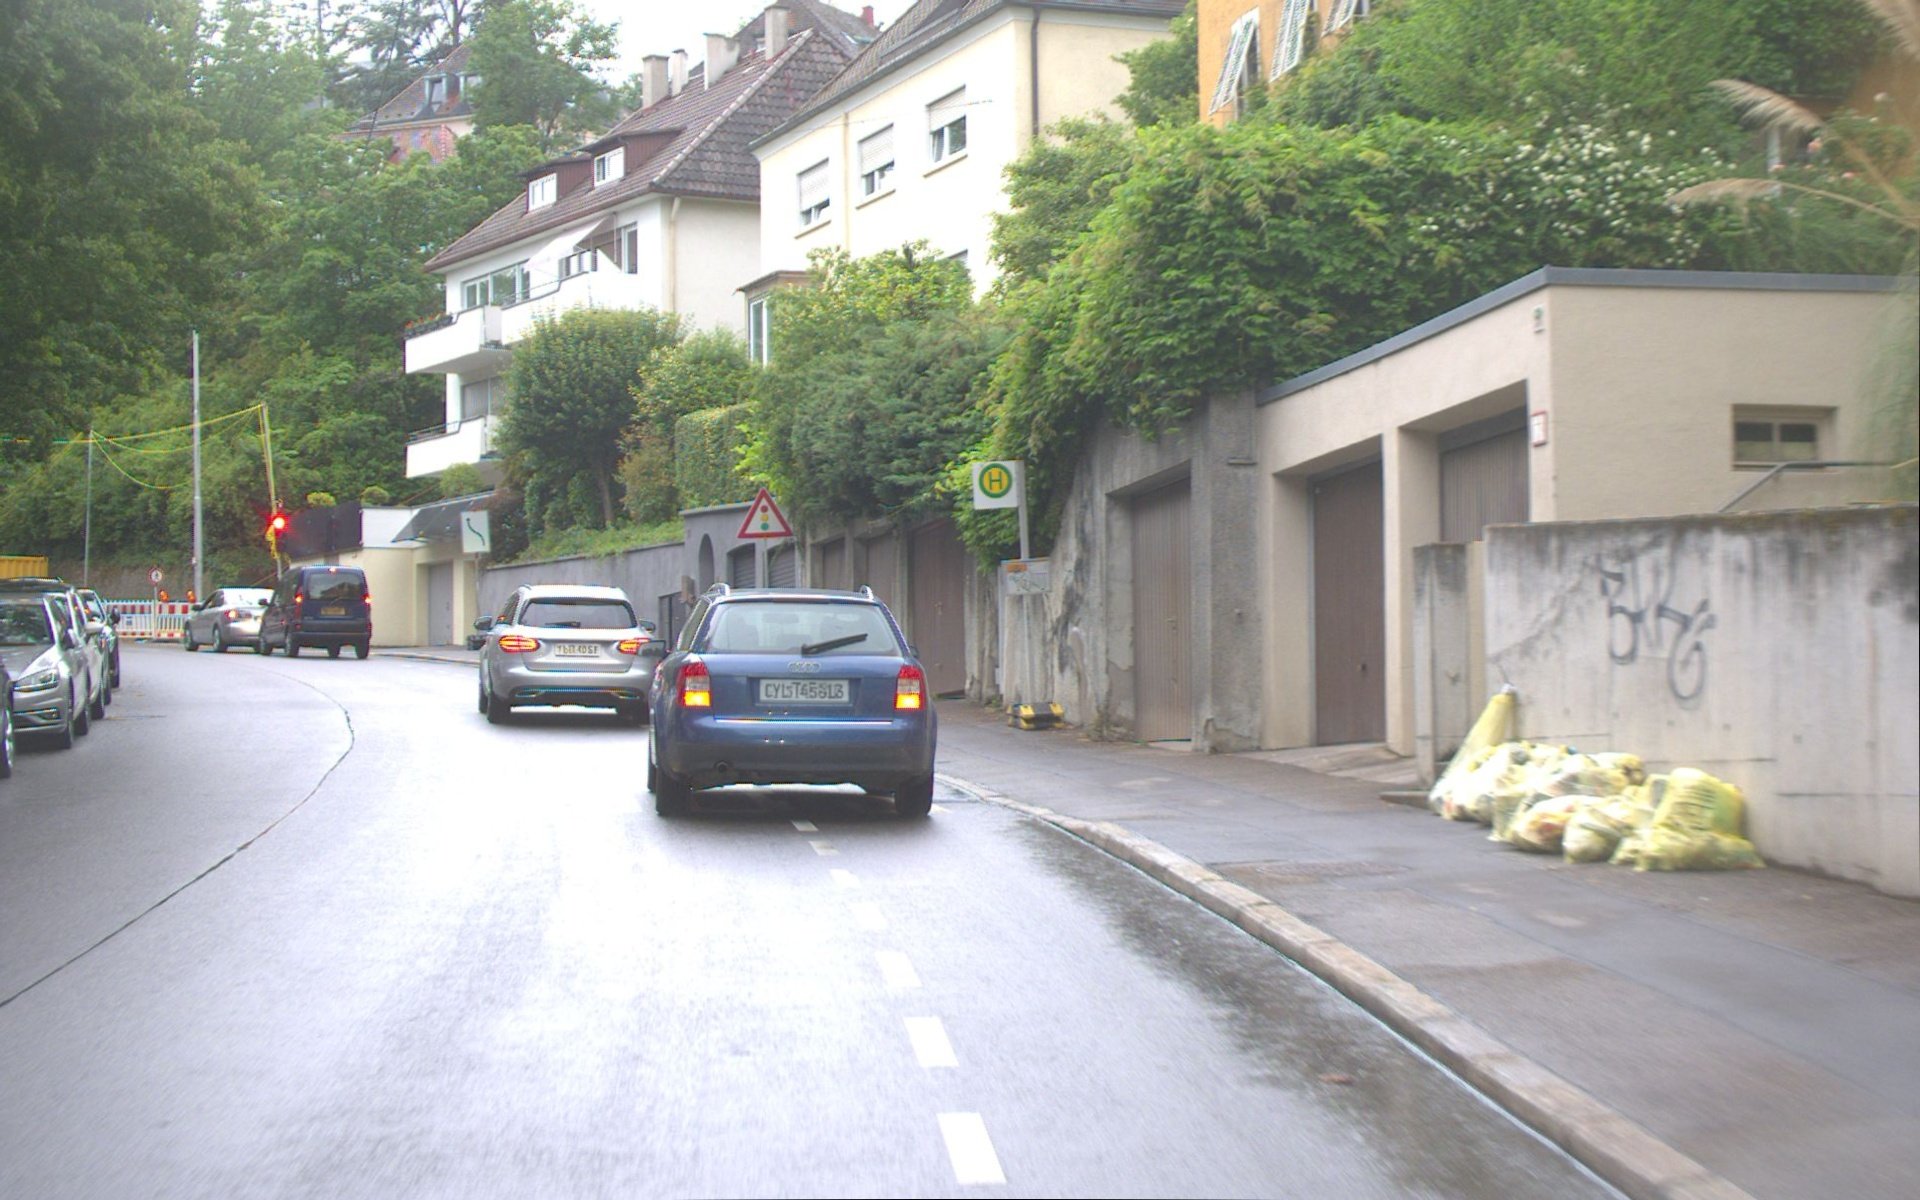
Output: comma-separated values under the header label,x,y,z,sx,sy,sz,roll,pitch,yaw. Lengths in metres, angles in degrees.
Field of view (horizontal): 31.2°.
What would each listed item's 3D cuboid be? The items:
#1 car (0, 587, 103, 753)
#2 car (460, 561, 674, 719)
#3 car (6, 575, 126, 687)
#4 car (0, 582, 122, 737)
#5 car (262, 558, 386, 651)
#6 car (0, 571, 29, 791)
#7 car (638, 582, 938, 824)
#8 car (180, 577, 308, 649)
label,x,y,z,sx,sy,sz,roll,pitch,yaw
car,-9.236,0.674,33.077,1.617,1.465,3.973,-3,0,-11
car,-4.347,0.391,37.502,1.925,1.612,4.322,1,1,-12
car,-13.150,0.449,50.707,1.555,1.483,4.099,-4,0,-14
car,-9.928,0.619,36.921,1.574,1.483,3.471,-4,2,-11
car,-12.917,0.069,69.705,1.993,1.788,4.001,-1,1,-17
car,-8.025,0.658,25.561,1.617,1.653,3.925,-4,0,-9
car,-1.131,0.603,22.484,1.785,1.437,3.964,0,0,-3
car,-15.629,0.269,74.900,1.720,1.481,4.077,-1,1,-26
